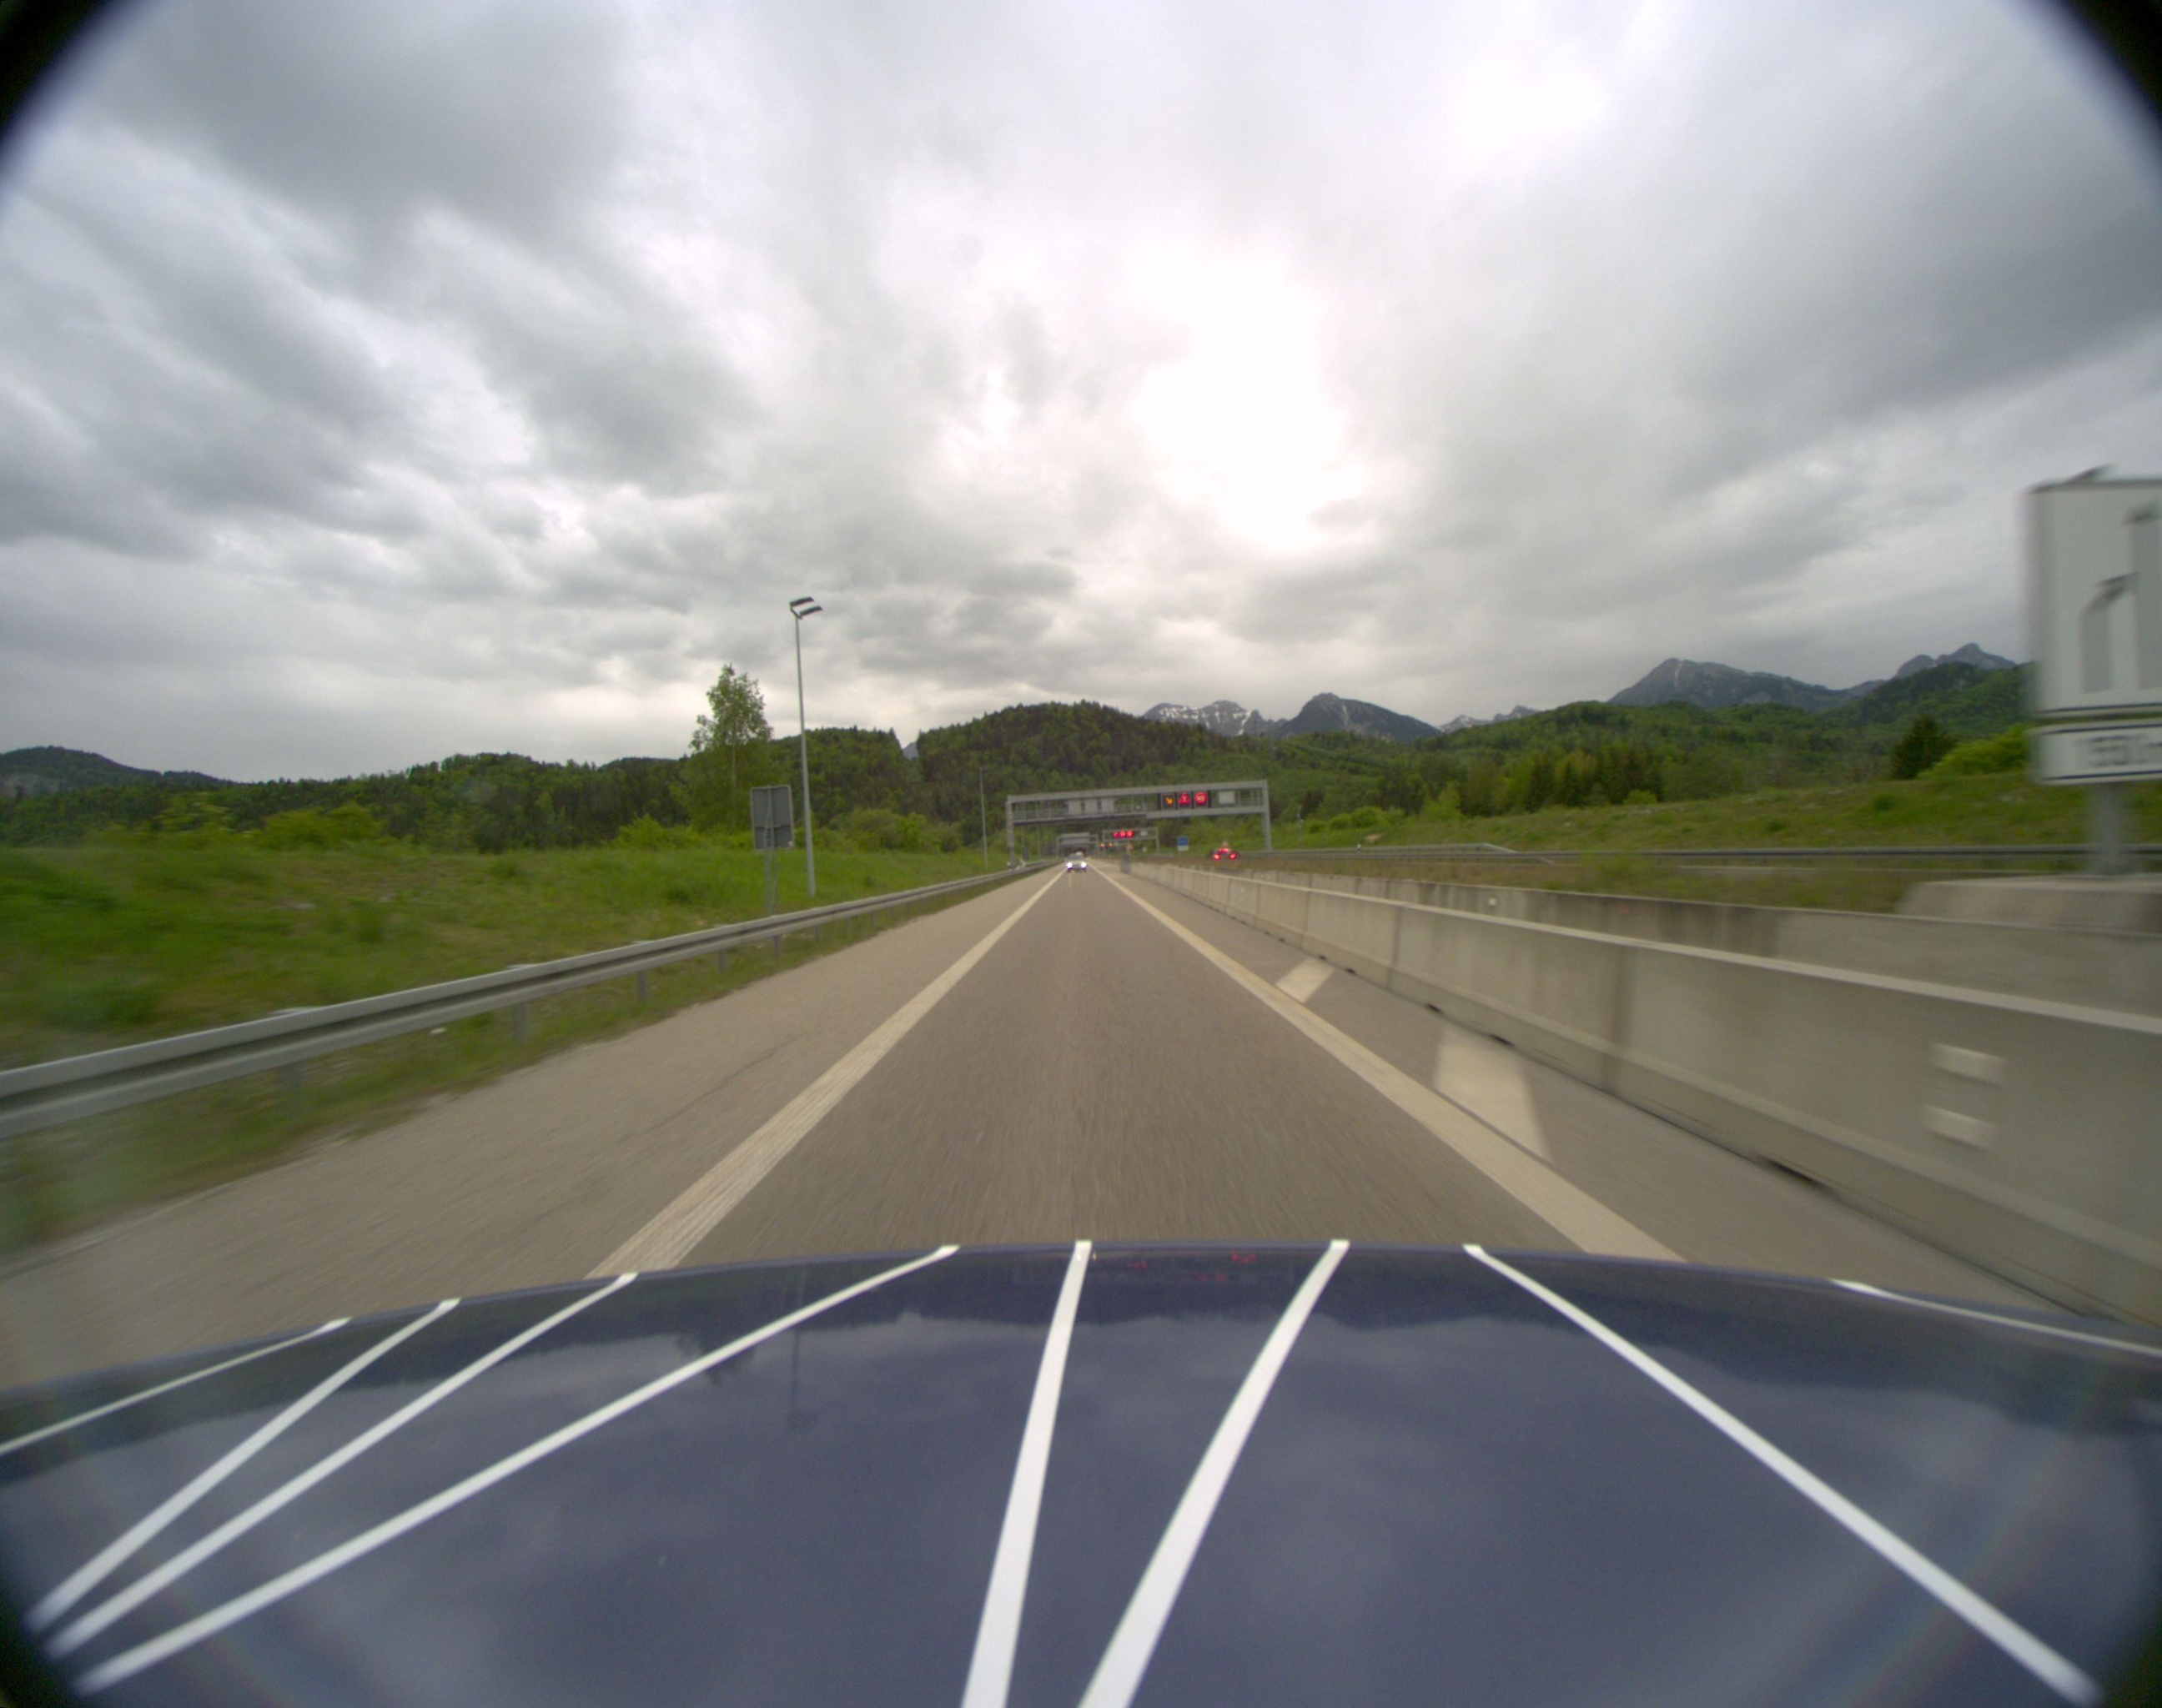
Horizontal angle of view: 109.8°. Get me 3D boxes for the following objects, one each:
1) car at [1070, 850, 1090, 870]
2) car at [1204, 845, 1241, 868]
[{"bbox_3d":[-0.113,0.571,78.988,1.923,1.871,5.137,-1,1,-1],"label":"car"},{"bbox_3d":[11.343,0.189,61.300,1.883,1.726,5.751,-3,0,0],"label":"car"}]
